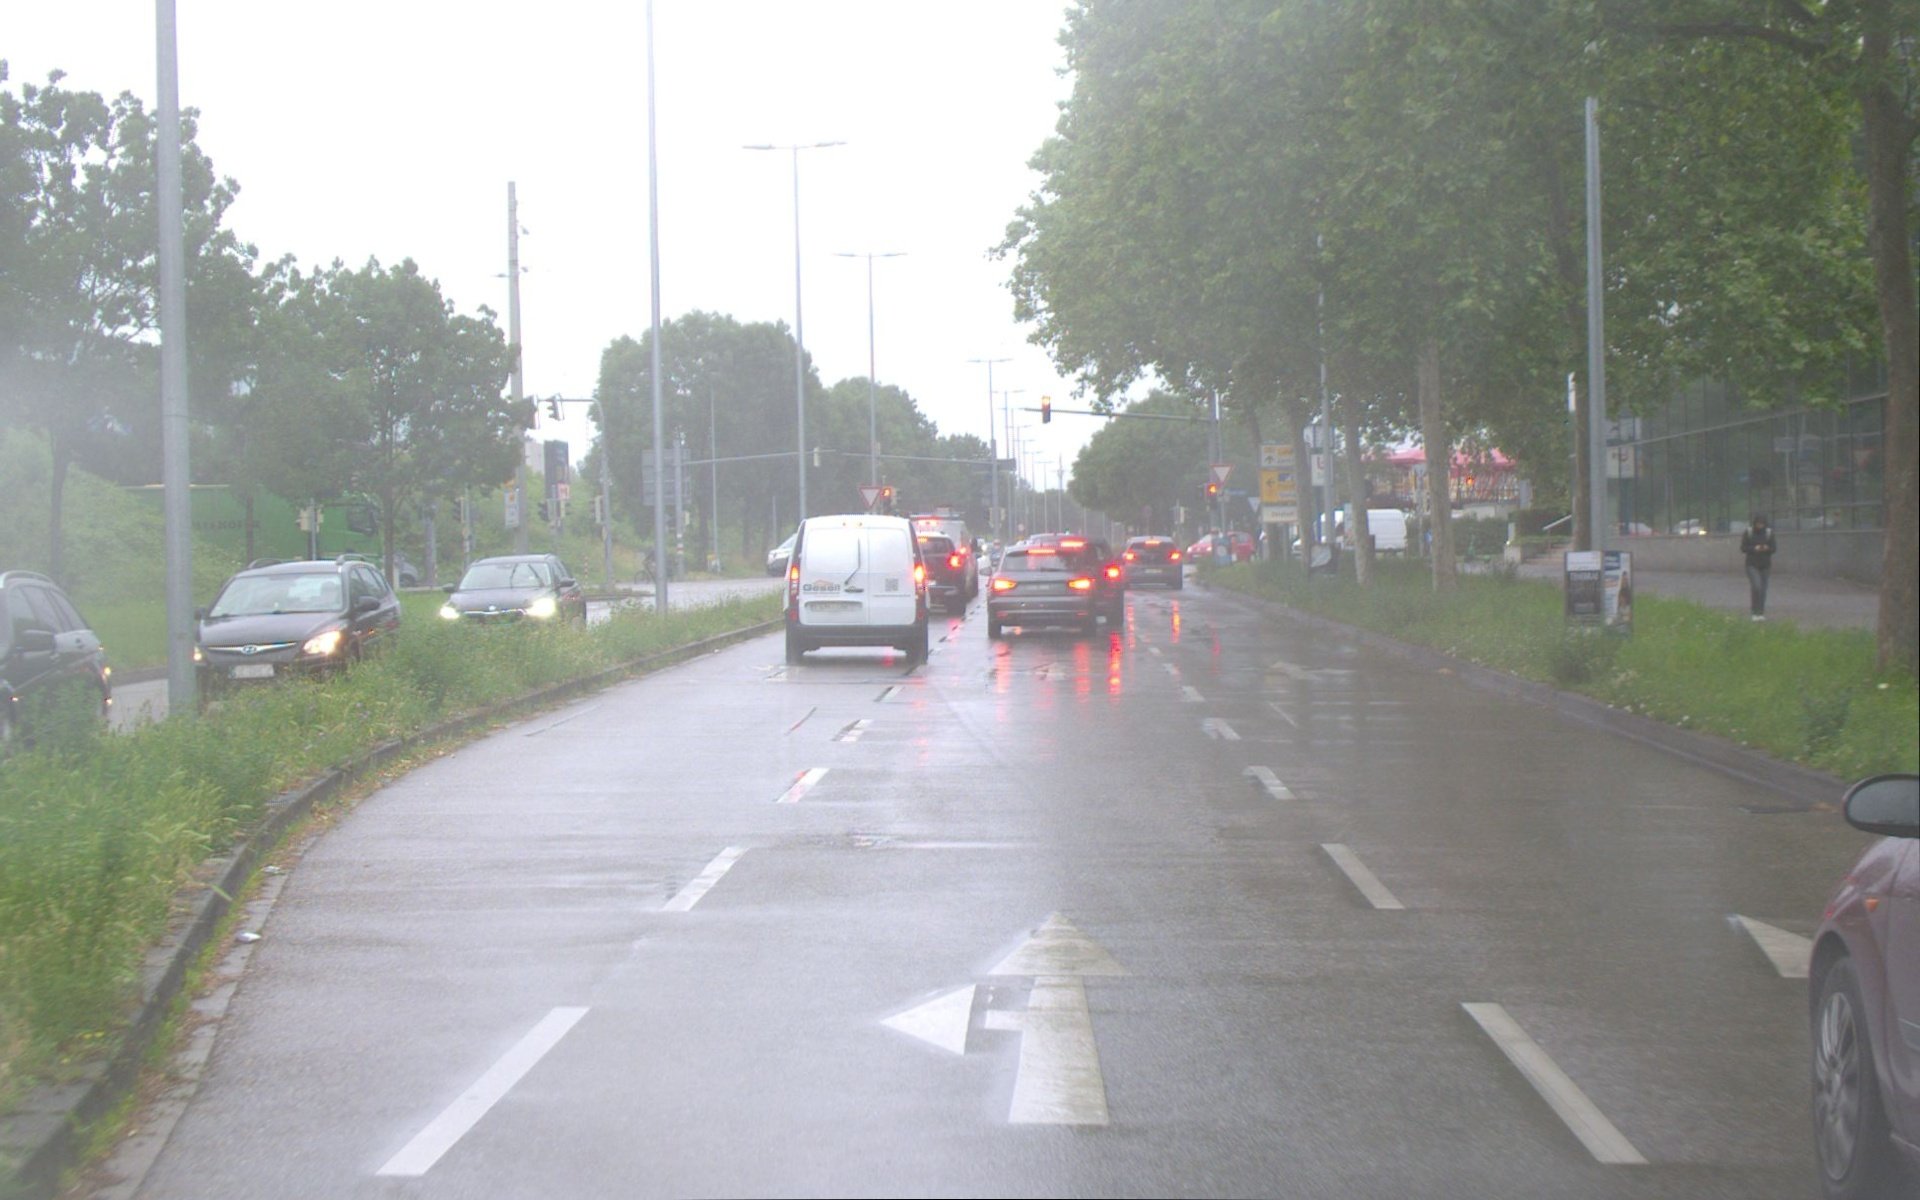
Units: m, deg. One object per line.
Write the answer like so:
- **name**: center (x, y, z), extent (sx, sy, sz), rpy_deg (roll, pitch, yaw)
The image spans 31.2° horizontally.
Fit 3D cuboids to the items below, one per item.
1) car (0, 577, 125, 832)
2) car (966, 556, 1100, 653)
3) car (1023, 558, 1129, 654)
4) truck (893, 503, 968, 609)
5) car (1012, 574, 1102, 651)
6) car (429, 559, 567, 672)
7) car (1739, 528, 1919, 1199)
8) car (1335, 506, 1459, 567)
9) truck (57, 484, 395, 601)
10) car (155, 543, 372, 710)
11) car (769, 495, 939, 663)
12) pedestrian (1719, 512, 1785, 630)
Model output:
- **car**: center (-7.061, 0.679, 23.319), extent (1.908, 1.569, 4.709), rpy_deg (-3, 0, -4)
- **car**: center (1.101, 0.055, 53.564), extent (1.993, 1.447, 4.000), rpy_deg (0, 0, 0)
- **car**: center (1.993, 0.080, 59.874), extent (1.708, 1.544, 4.000), rpy_deg (0, 1, 0)
- **truck**: center (-0.678, -1.042, 81.895), extent (1.756, 2.458, 4.000), rpy_deg (0, 0, 0)
- **car**: center (1.920, 0.225, 68.052), extent (1.711, 1.440, 4.000), rpy_deg (-1, 1, 2)
- **car**: center (-6.941, 0.208, 52.008), extent (1.720, 1.612, 4.346), rpy_deg (-1, 0, -3)
- **car**: center (2.738, 0.634, 6.045), extent (1.839, 1.531, 4.111), rpy_deg (0, 0, 1)
- **car**: center (20.711, -2.997, 162.663), extent (6.001, 2.735, 2.000), rpy_deg (1, -1, -34)
- **truck**: center (-22.903, -1.737, 107.681), extent (10.109, 3.440, 2.658), rpy_deg (1, -1, -35)
- **car**: center (-7.220, 0.221, 35.990), extent (1.823, 1.569, 4.361), rpy_deg (-2, 1, -7)
- **car**: center (-1.280, -0.221, 42.979), extent (1.993, 2.007, 4.000), rpy_deg (0, -1, 0)
- **pedestrian**: center (11.940, -0.439, 51.846), extent (0.664, 1.756, 1.076), rpy_deg (0, 1, -4)
